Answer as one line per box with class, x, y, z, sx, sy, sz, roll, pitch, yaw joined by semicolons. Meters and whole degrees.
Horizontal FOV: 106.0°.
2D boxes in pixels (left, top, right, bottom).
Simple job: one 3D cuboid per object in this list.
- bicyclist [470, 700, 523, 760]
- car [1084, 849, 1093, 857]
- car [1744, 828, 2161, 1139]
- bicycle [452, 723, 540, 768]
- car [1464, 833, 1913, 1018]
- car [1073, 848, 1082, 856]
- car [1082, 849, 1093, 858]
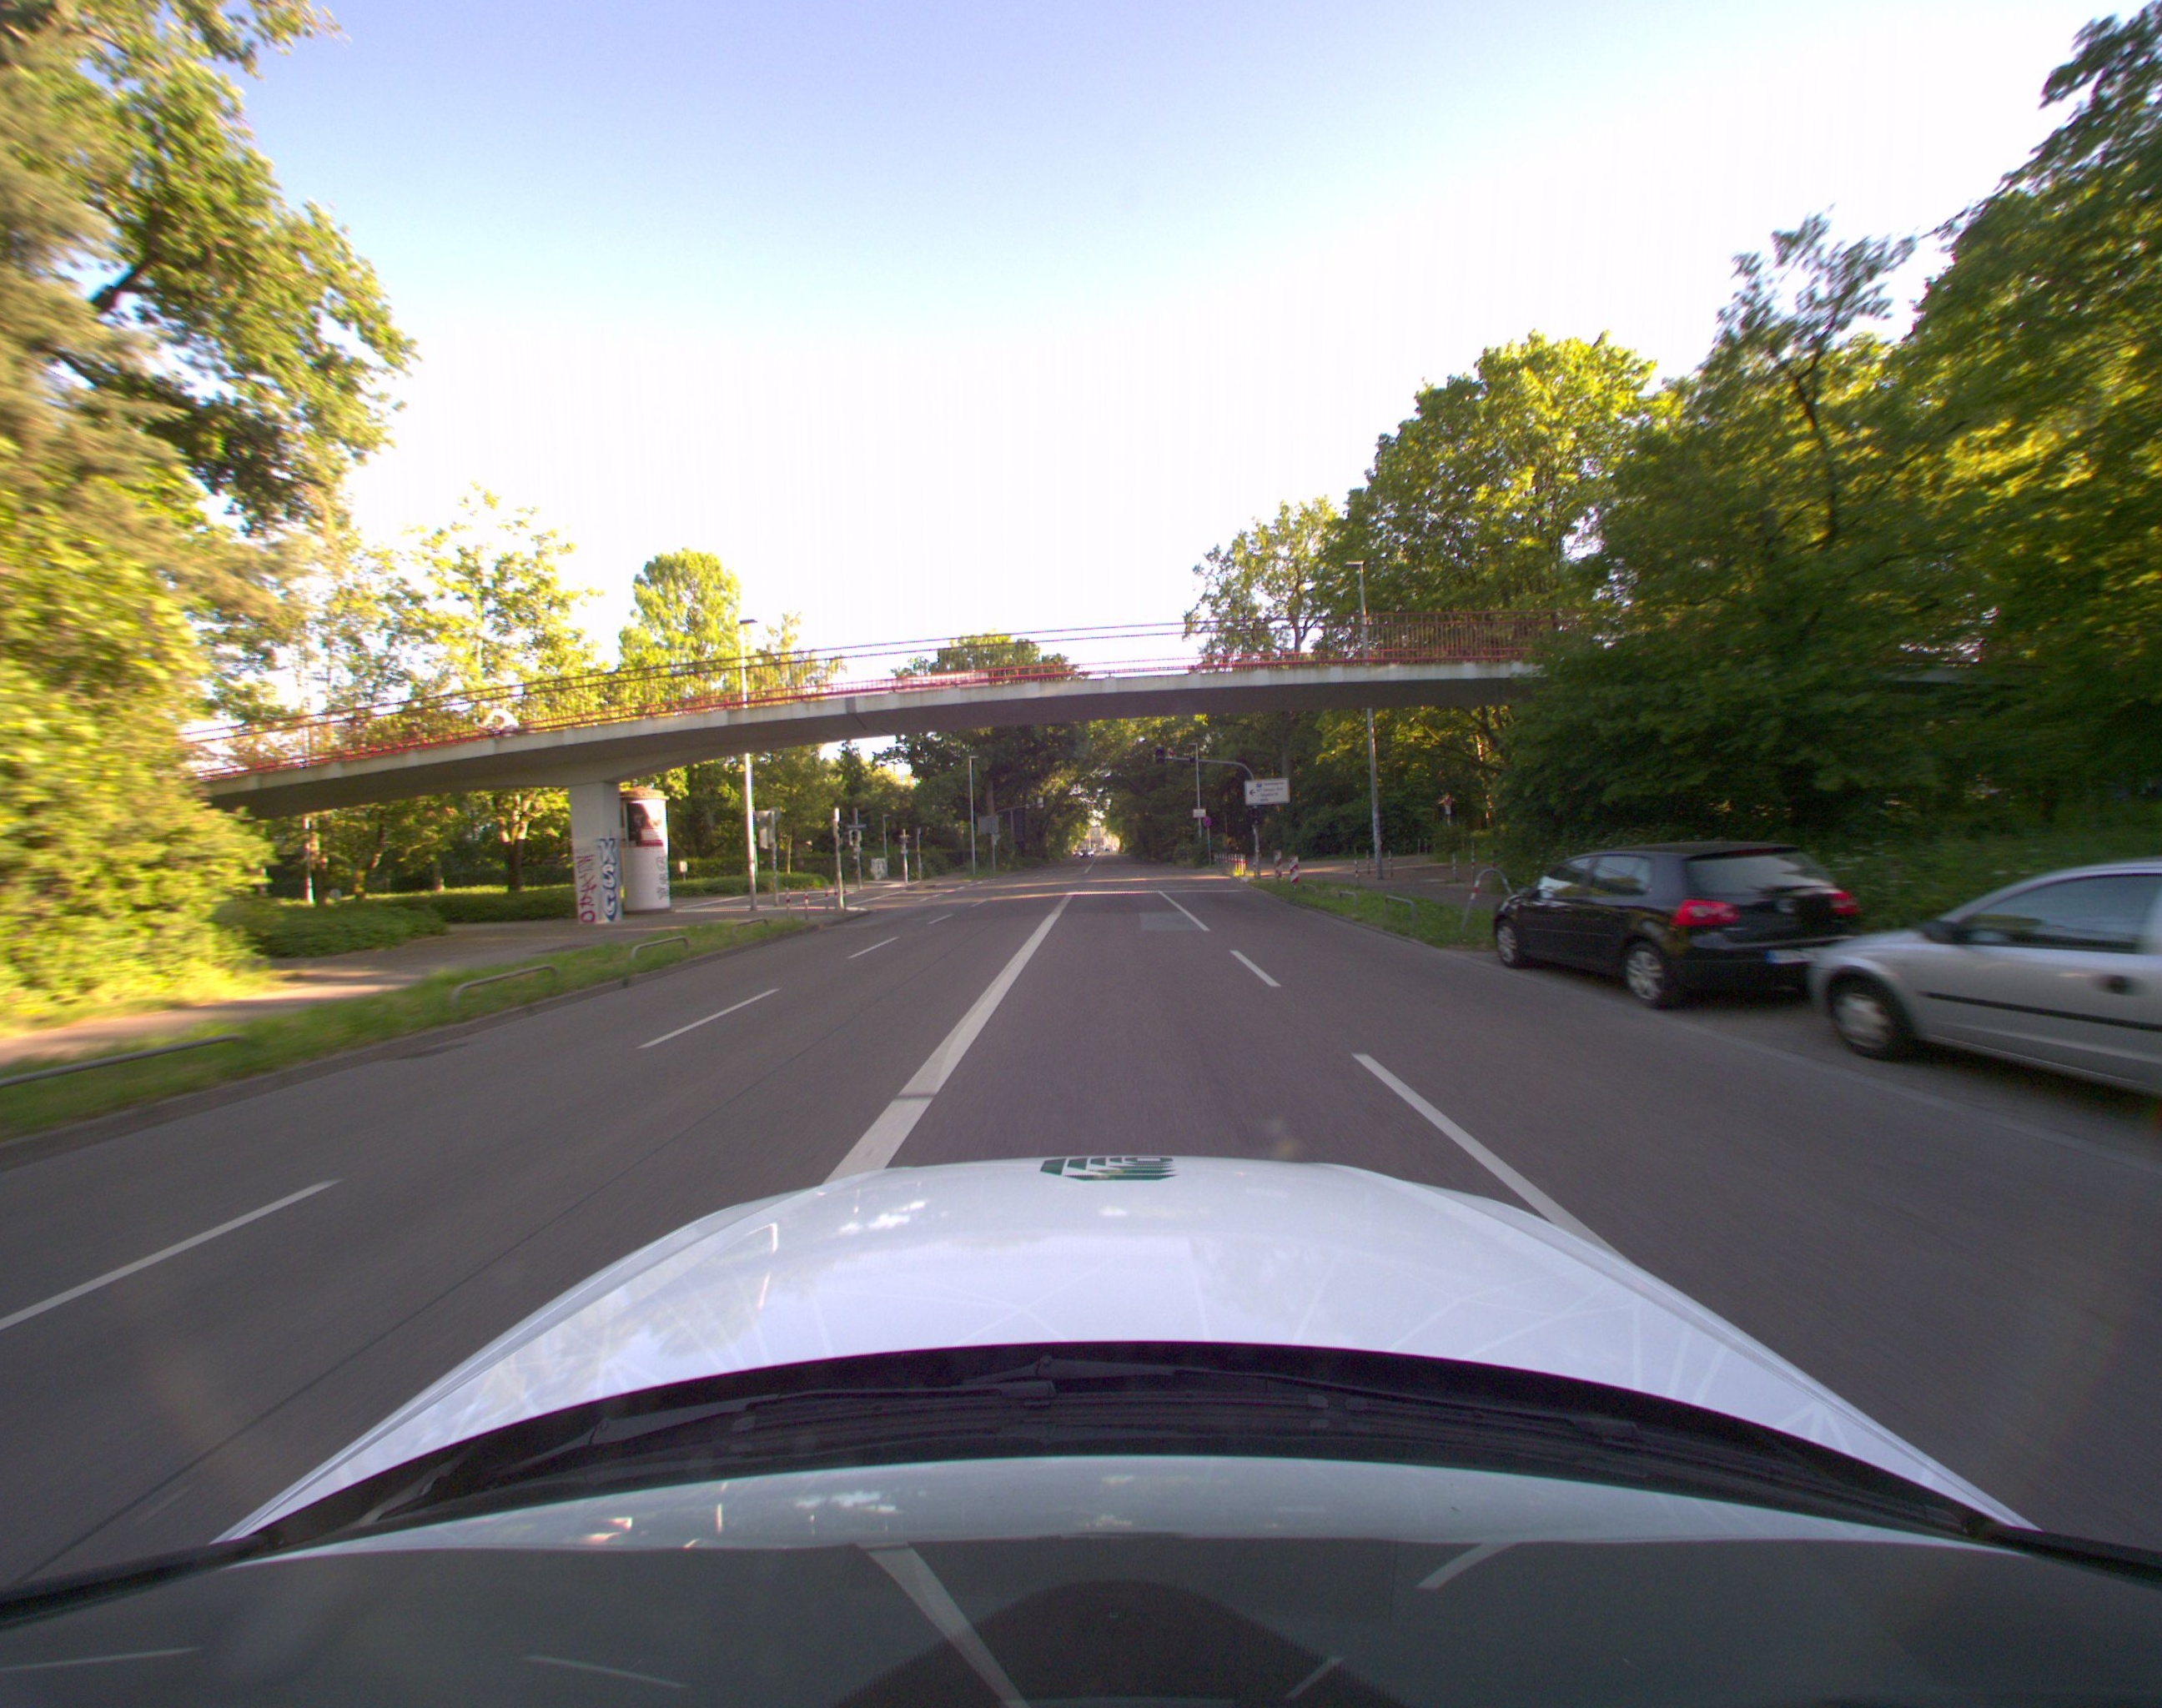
bicyclist;-16.835;-3.560;23.464;0.967;1.586;0.714;-1;-1;-1
car;1.544;-0.267;163.396;1.791;1.506;4.364;-3;0;1
car;6.165;0.612;4.577;1.766;1.453;4.019;-3;0;4
bicycle;-16.838;-3.115;23.465;1.981;1.147;0.714;-1;-1;-1
car;6.106;0.599;9.006;1.767;1.453;4.390;-3;0;2
car;-0.728;-0.423;178.728;1.791;1.506;4.364;-3;0;1
car;1.124;-0.108;139.118;1.881;1.506;4.364;-3;0;1
